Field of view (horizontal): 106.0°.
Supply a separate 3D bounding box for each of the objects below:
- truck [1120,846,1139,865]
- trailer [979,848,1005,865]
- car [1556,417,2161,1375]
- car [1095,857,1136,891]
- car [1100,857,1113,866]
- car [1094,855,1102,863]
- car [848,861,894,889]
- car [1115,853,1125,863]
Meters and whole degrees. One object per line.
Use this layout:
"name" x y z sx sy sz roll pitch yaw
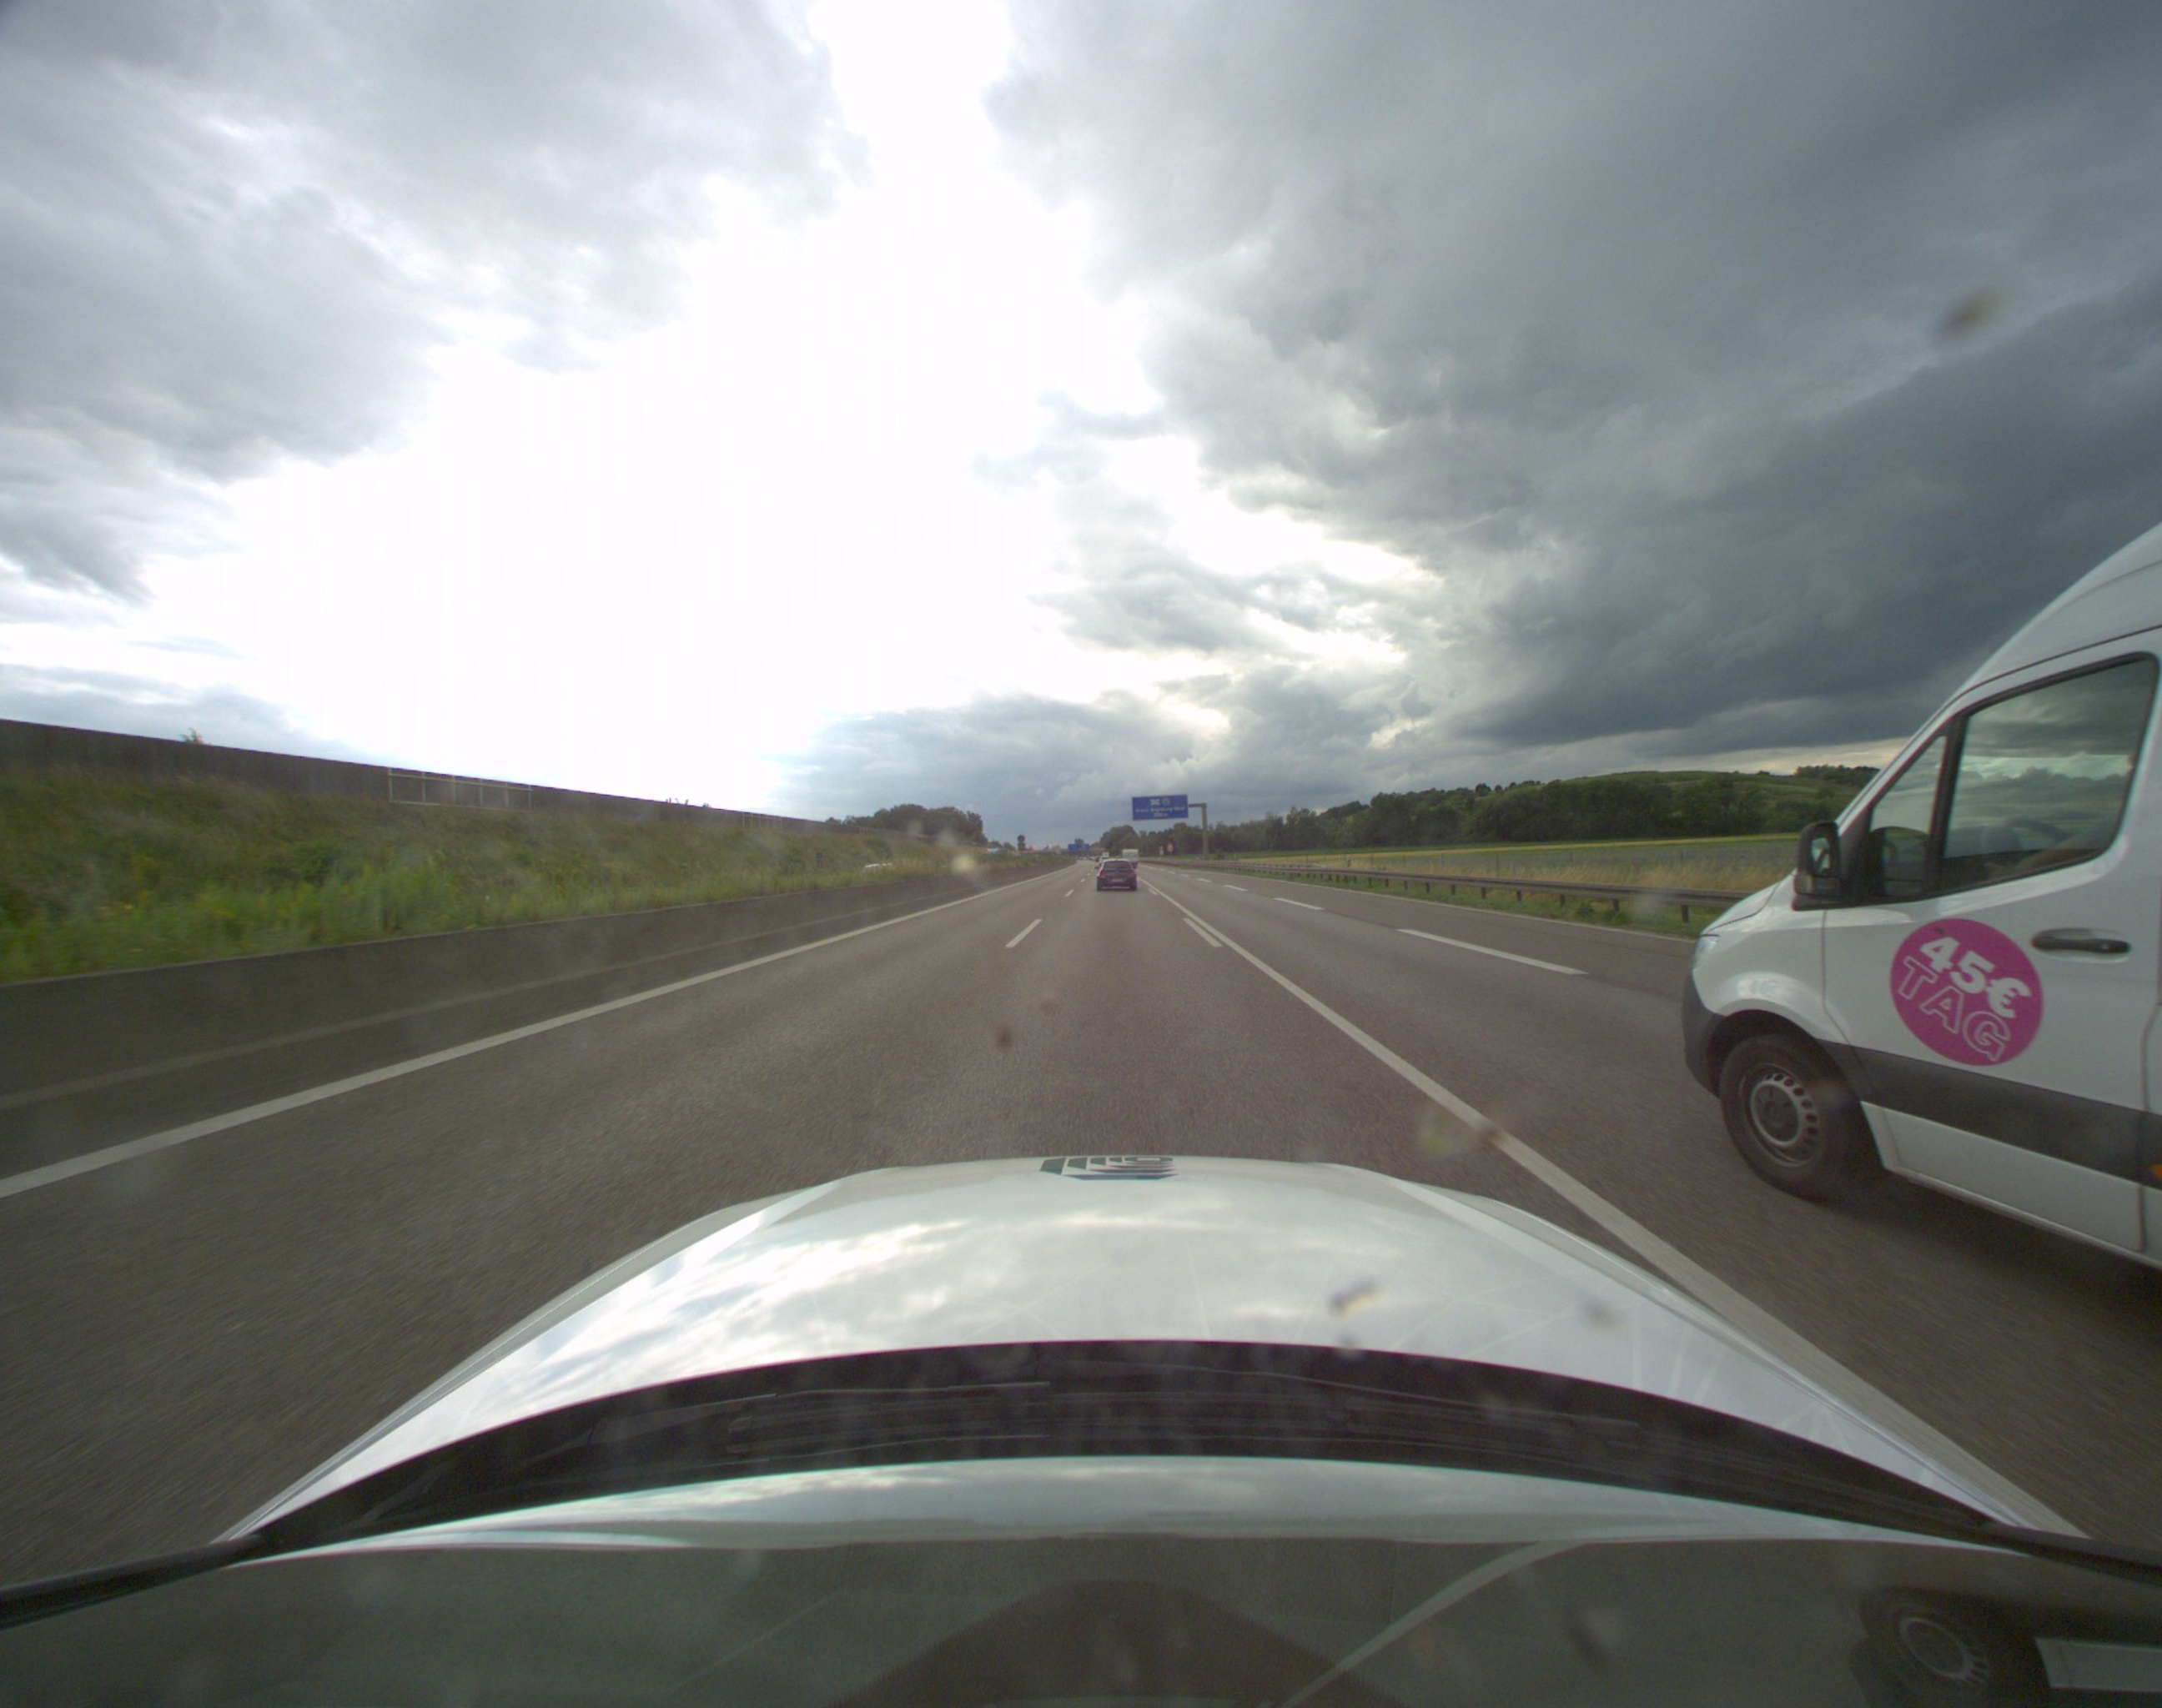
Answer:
"truck" 7.792 0.268 130.966 2.700 2.964 12.452 0 0 2
"trailer" -15.867 0.426 145.892 2.927 3.011 11.621 0 0 2
"car" 3.989 0.100 1.948 2.212 2.568 6.259 -1 0 2
"car" 1.546 0.876 36.970 1.736 1.389 4.002 -1 0 2
"car" 4.096 1.137 130.412 1.986 1.298 4.001 -3 0 1
"car" 4.701 1.373 224.650 1.986 2.013 4.001 -3 0 2
"car" -11.269 1.089 43.892 1.530 1.389 3.333 -1 0 1
"car" 8.577 0.862 177.865 1.986 2.013 4.001 -3 0 2
